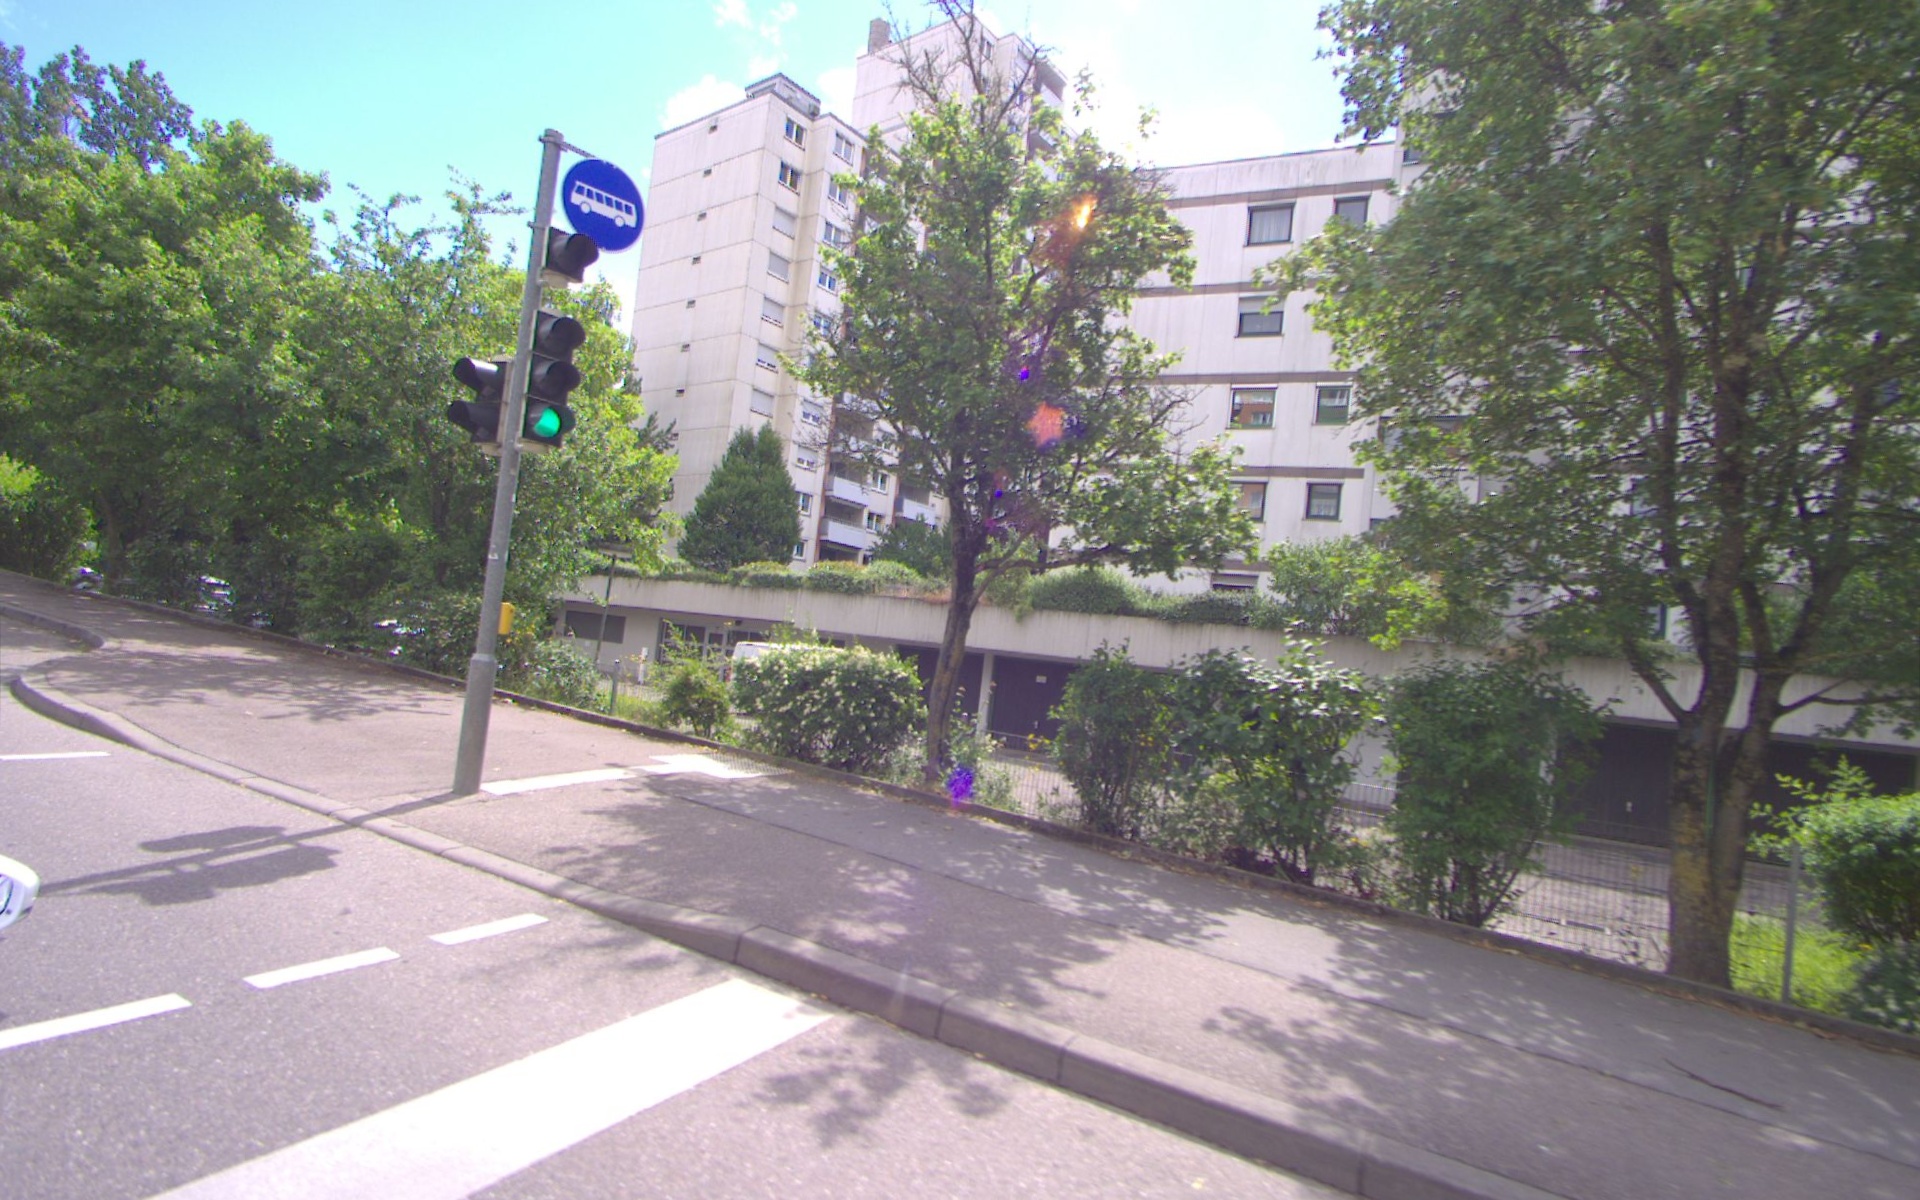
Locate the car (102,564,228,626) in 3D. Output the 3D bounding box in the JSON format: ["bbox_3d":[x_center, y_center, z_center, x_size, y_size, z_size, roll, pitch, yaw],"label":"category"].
[{"bbox_3d":[-26.802,-0.164,33.909,3.932,1.486,1.875,7,-2,29],"label":"car"}]

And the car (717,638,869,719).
[{"bbox_3d":[-4.494,2.167,27.562,1.763,1.914,3.991,4,-2,33],"label":"car"}]

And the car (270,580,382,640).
[{"bbox_3d":[-23.694,0.365,37.577,3.933,1.636,1.829,7,-3,32],"label":"car"}]

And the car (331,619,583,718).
[{"bbox_3d":[-8.924,1.300,18.186,1.538,1.448,3.764,5,-4,29],"label":"car"}]
